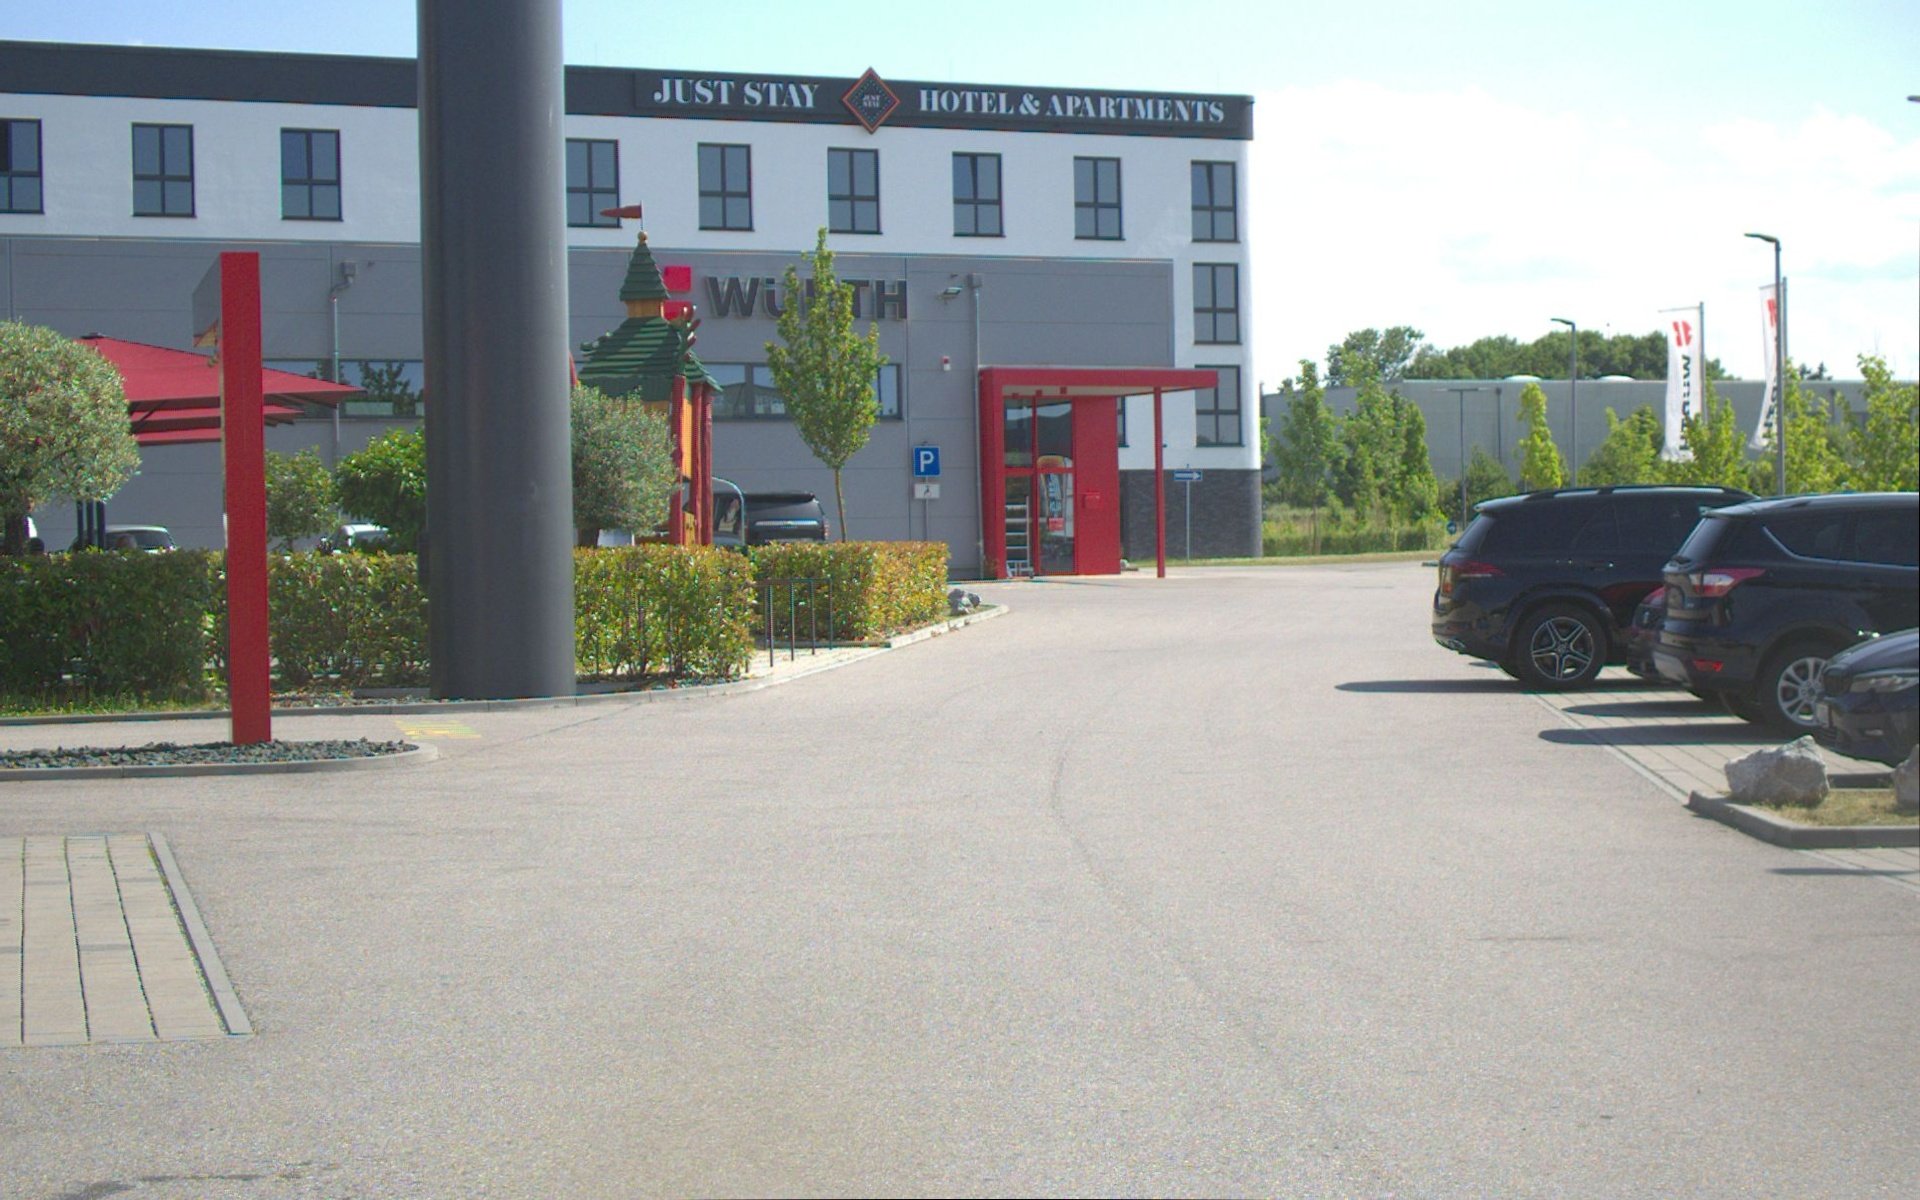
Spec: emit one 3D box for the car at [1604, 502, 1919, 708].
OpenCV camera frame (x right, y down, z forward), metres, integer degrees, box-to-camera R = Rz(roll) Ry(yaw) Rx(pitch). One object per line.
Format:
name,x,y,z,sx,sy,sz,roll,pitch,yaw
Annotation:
car,7.406,0.015,27.955,4.069,1.603,1.895,0,2,4

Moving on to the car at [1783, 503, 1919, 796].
car,7.194,0.256,19.970,4.437,1.632,1.895,0,1,4

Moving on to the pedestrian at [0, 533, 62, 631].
pedestrian,-10.629,-0.208,39.251,0.576,1.086,0.545,-1,2,1

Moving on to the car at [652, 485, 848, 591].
car,-4.011,-1.197,64.764,2.070,1.874,4.880,-2,2,-24

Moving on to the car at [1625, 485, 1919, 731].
car,7.103,0.030,24.633,4.318,1.697,1.896,0,1,1

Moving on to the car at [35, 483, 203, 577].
car,-15.003,-1.261,61.183,1.947,1.580,4.377,-2,2,-27

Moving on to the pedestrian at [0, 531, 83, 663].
pedestrian,-8.466,-0.036,31.524,0.648,1.181,0.482,-2,2,-40

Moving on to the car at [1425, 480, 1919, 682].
car,6.560,-0.187,30.782,4.575,1.754,1.896,0,1,2

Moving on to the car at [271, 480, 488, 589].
car,-8.673,-0.996,51.095,1.947,1.525,4.377,-2,2,-27

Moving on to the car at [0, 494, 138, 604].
car,-11.298,-0.660,43.497,1.642,1.304,3.842,-1,2,-12
